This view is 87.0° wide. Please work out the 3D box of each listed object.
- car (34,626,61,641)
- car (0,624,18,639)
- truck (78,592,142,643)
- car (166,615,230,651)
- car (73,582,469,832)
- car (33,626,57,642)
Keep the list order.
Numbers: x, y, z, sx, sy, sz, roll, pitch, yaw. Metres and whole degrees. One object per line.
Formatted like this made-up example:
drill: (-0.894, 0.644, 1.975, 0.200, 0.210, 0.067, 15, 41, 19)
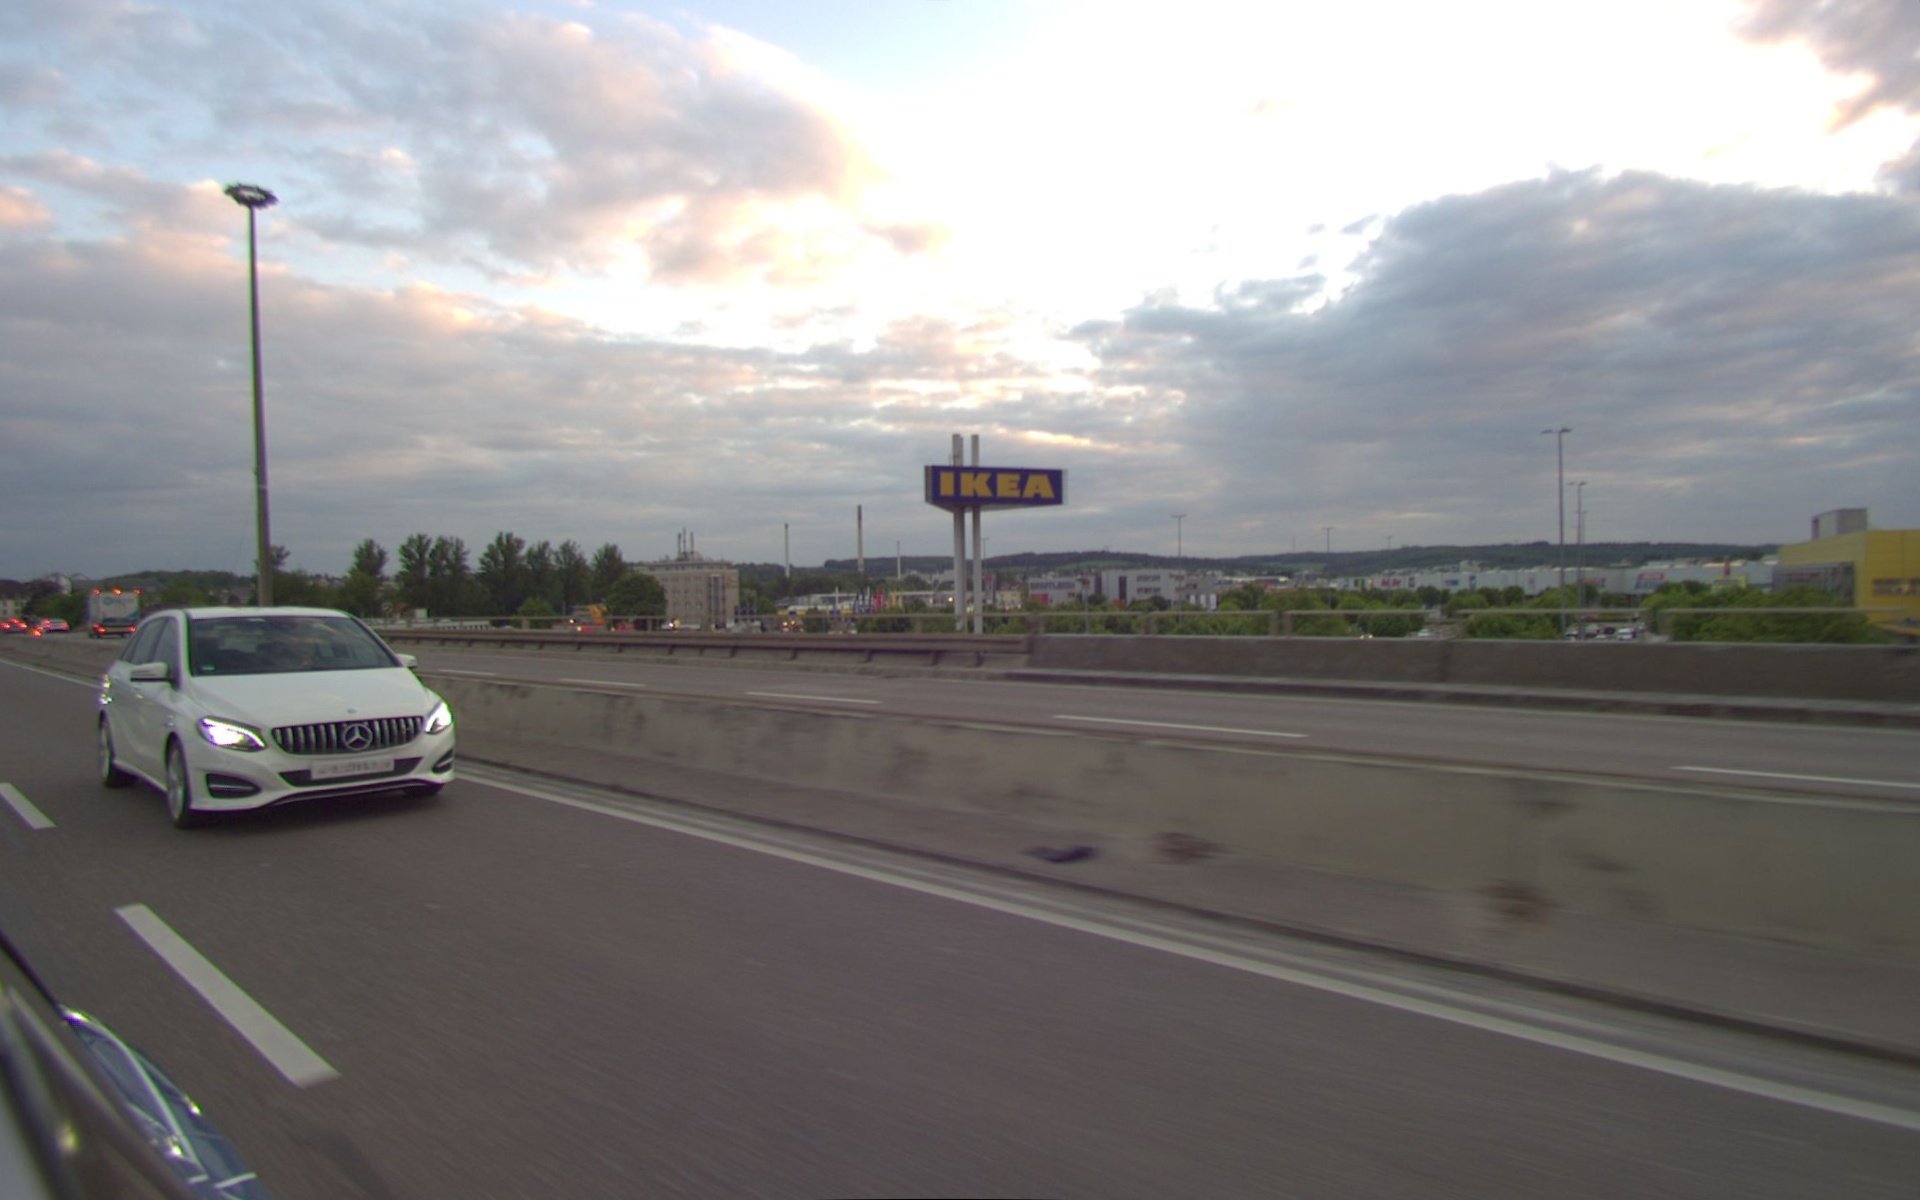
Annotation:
car: (-96.201, 3.558, 106.636, 4.818, 1.514, 1.810, -2, -2, 44)
car: (-98.808, 3.299, 104.756, 3.836, 1.452, 1.611, -3, -2, 43)
truck: (-58.749, 1.203, 69.891, 7.447, 3.322, 2.507, -1, -1, 43)
car: (-37.153, 1.567, 49.274, 1.954, 1.618, 4.444, 0, -1, -44)
car: (-5.990, 0.744, 8.513, 4.782, 1.549, 1.673, -3, -2, 42)
car: (-119.360, 4.408, 131.942, 5.460, 1.915, 1.880, -2, -1, 43)
